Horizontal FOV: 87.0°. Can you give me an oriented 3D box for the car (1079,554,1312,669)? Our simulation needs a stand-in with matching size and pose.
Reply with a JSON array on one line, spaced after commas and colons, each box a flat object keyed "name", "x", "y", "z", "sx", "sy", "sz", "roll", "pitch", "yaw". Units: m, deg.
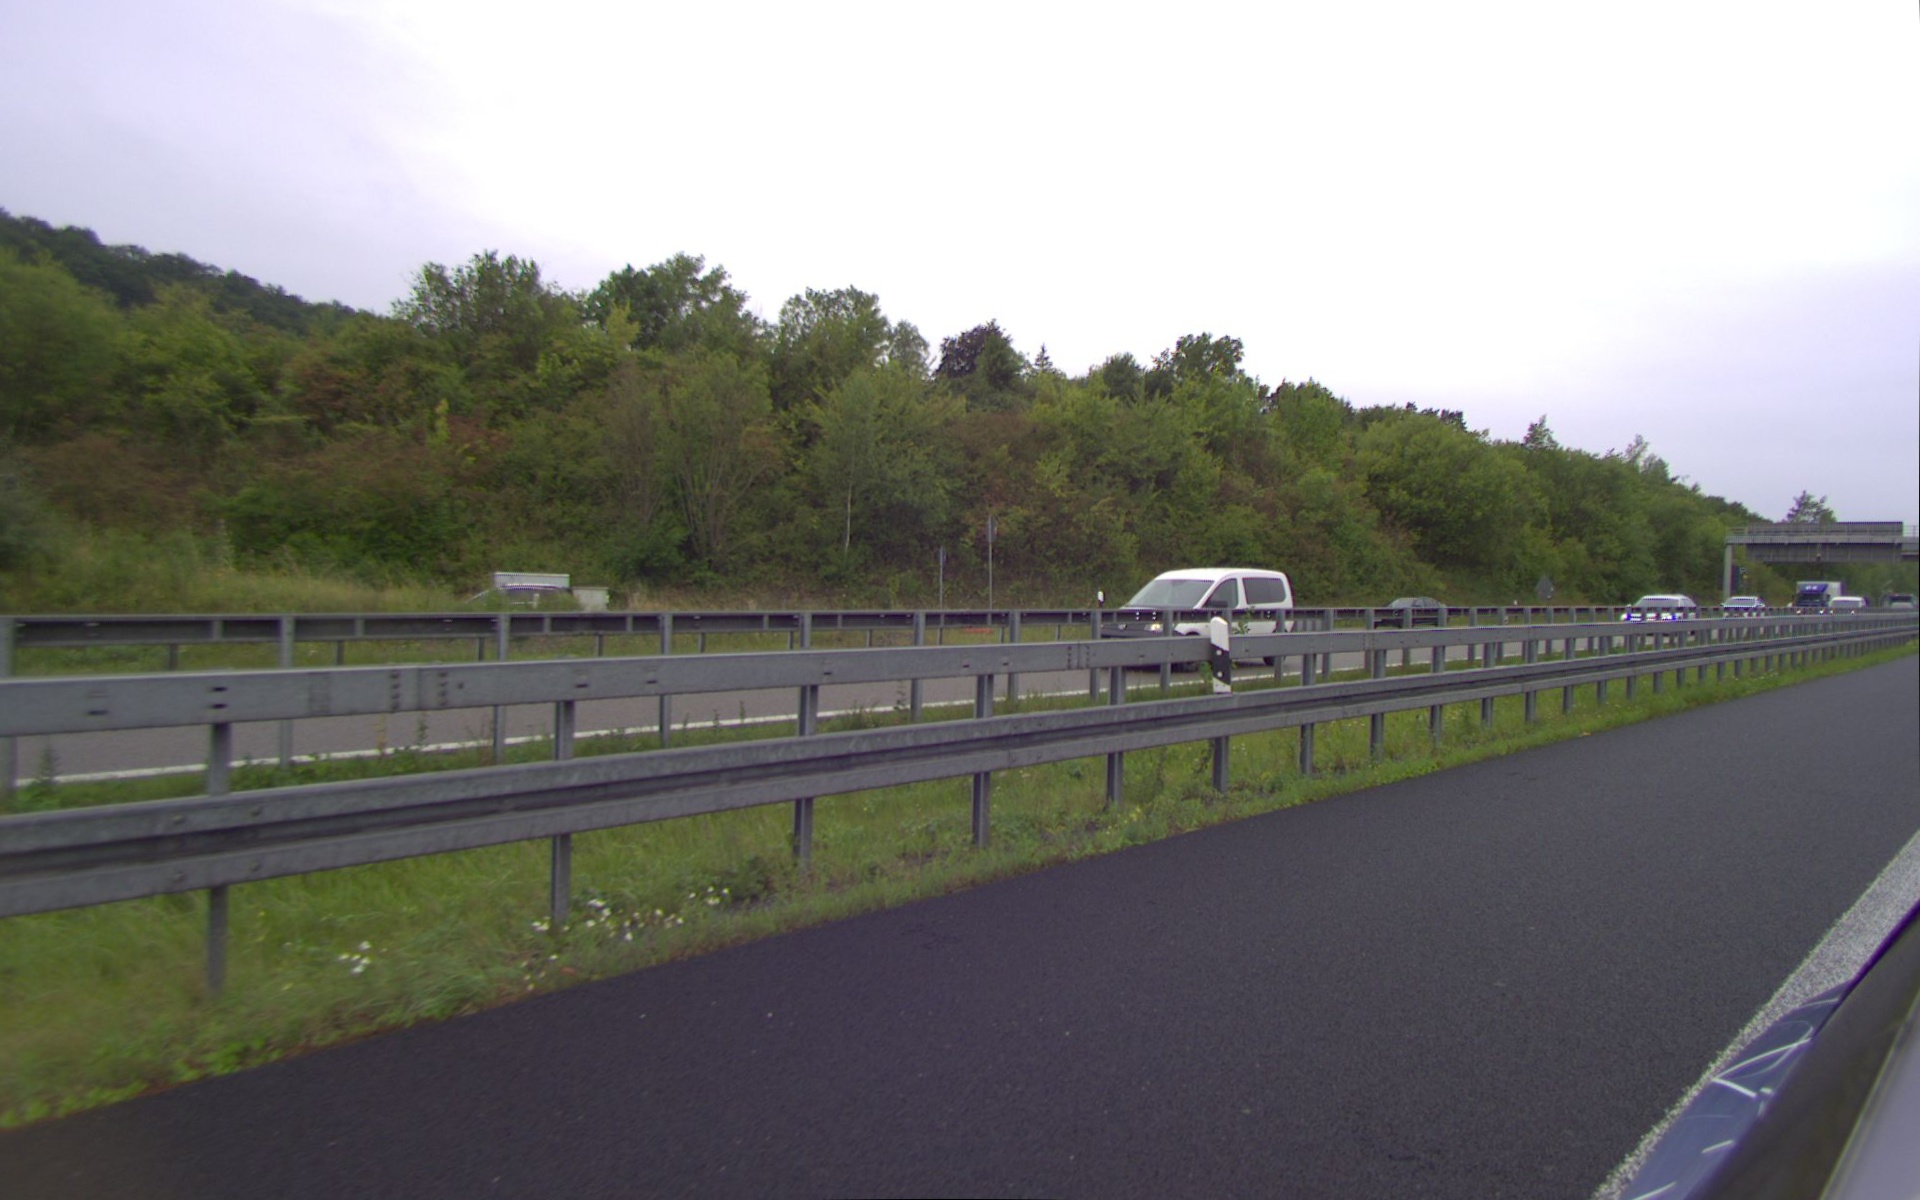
[{"name": "car", "x": 4.377, "y": 0.153, "z": 18.393, "sx": 4.568, "sy": 1.828, "sz": 1.863, "roll": 0, "pitch": 1, "yaw": -42}]

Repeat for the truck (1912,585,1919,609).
[{"name": "truck", "x": 140.220, "y": -0.447, "z": 146.416, "sx": 13.130, "sy": 3.460, "sz": 2.904, "roll": 0, "pitch": 1, "yaw": -43}]

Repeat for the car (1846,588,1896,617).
[{"name": "car", "x": 60.294, "y": 0.152, "z": 66.958, "sx": 4.202, "sy": 1.837, "sz": 2.011, "roll": 0, "pitch": 1, "yaw": -41}]

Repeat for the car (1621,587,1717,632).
[{"name": "car", "x": 26.954, "y": 0.323, "z": 38.414, "sx": 4.615, "sy": 1.567, "sz": 2.011, "roll": 0, "pitch": 1, "yaw": -42}]

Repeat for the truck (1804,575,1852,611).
[{"name": "truck", "x": 87.403, "y": -0.757, "z": 101.791, "sx": 9.130, "sy": 3.460, "sz": 2.903, "roll": 0, "pitch": 1, "yaw": -45}]

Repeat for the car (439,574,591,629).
[{"name": "car", "x": -13.619, "y": 0.023, "z": 31.228, "sx": 4.151, "sy": 1.602, "sz": 1.870, "roll": 0, "pitch": 1, "yaw": -21}]

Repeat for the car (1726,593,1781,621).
[{"name": "car", "x": 48.074, "y": 0.398, "z": 61.260, "sx": 4.074, "sy": 1.633, "sz": 1.900, "roll": 0, "pitch": 1, "yaw": -41}]
